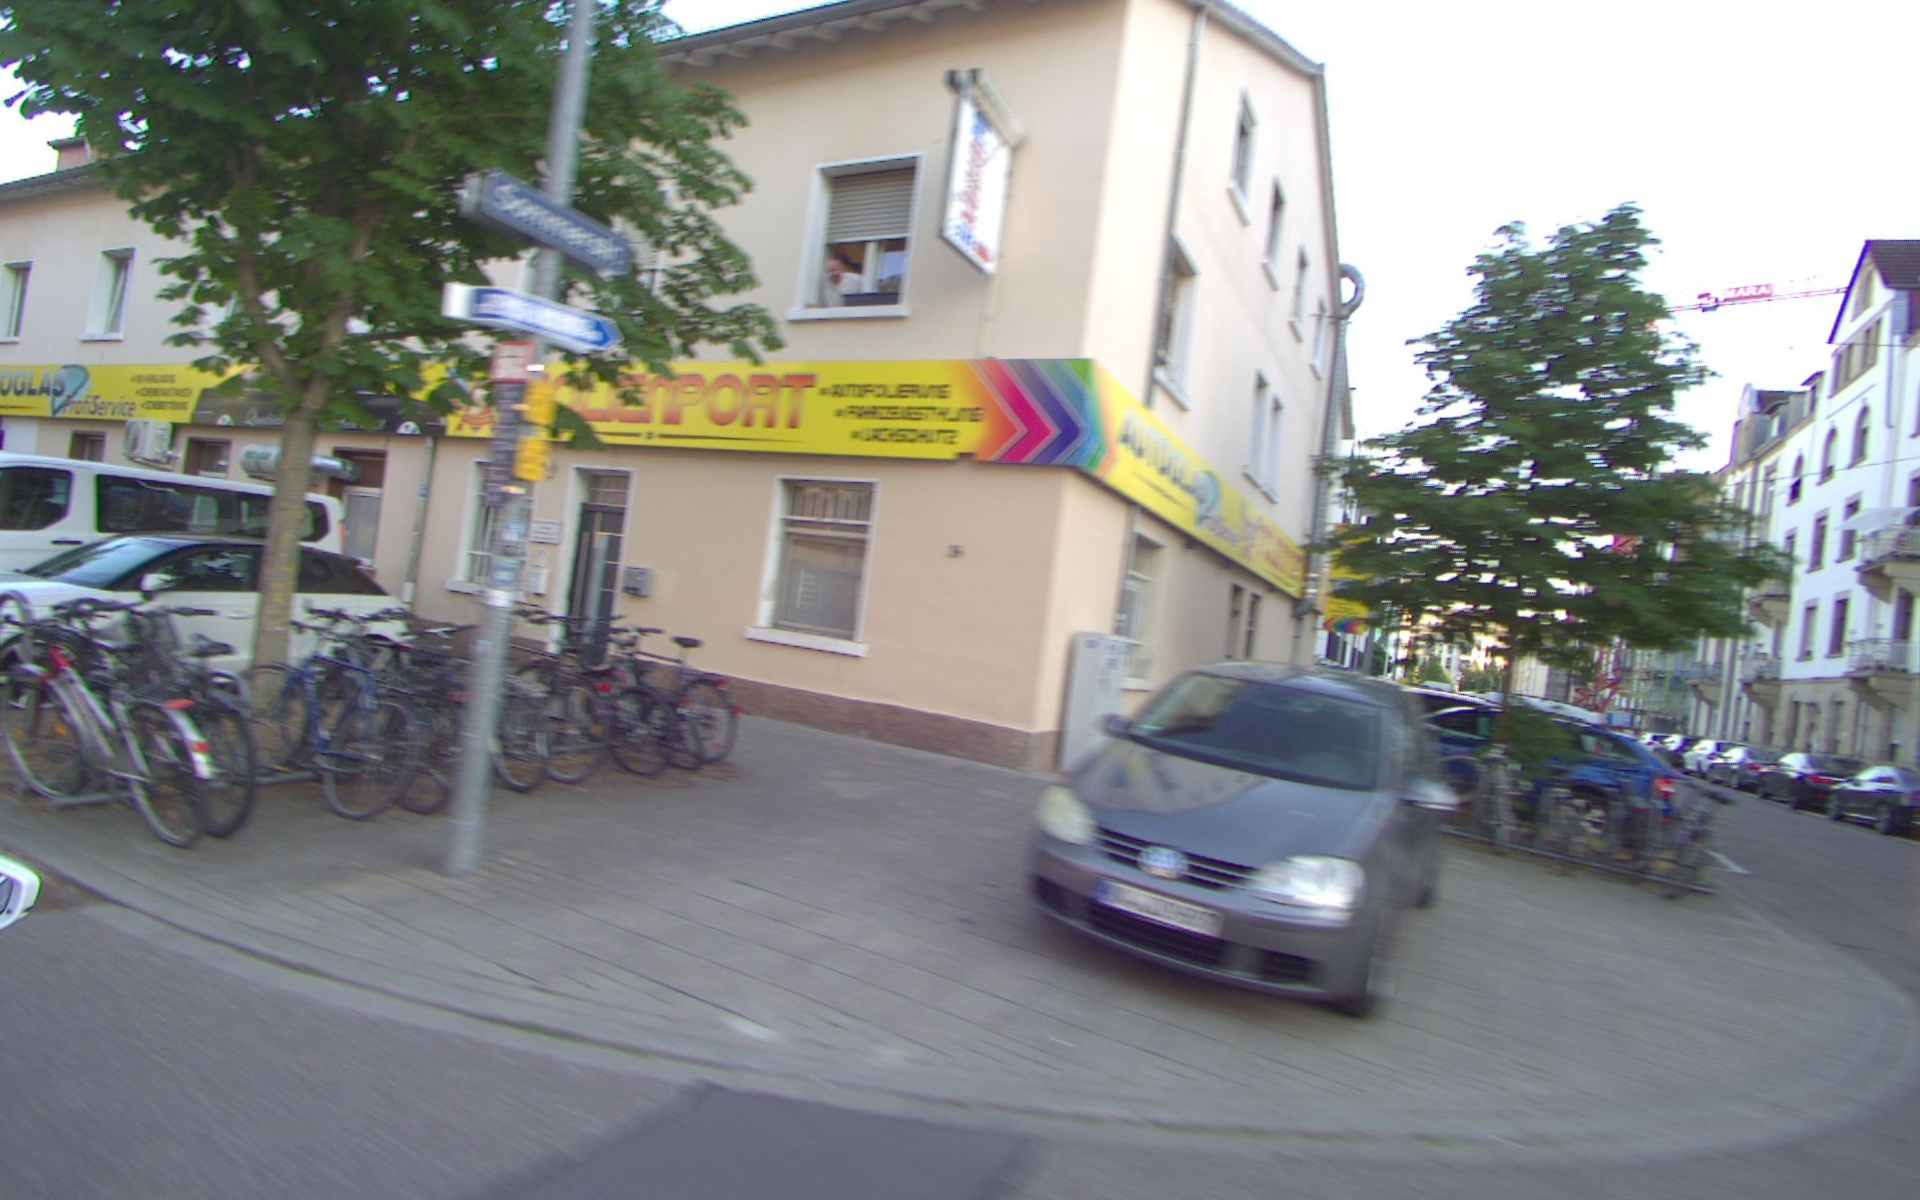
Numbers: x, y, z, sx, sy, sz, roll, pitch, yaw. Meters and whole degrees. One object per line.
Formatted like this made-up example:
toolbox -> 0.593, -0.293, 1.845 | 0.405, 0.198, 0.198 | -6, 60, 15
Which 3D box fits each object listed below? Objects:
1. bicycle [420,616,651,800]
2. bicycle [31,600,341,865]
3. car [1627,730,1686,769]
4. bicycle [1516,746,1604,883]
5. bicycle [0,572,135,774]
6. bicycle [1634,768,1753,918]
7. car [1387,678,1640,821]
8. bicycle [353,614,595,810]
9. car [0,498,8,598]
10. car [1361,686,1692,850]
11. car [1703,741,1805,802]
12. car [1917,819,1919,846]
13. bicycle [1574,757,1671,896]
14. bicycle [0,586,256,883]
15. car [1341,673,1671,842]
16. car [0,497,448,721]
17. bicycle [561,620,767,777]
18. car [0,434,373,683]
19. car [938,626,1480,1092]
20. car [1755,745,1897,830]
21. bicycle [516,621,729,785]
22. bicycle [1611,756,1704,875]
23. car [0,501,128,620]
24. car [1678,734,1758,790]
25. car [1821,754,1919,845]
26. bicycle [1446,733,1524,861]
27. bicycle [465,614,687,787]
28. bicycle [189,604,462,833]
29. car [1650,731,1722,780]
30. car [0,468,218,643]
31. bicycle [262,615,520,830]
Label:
bicycle -> -3.074, 0.741, 7.224 | 1.753, 1.036, 0.358 | 7, -1, 26
bicycle -> -4.070, 0.630, 5.240 | 1.937, 1.036, 0.358 | 7, -1, 26
car -> 32.914, 7.025, 47.610 | 1.567, 1.432, 3.682 | 7, -2, 25
bicycle -> 5.861, 2.052, 9.898 | 0.469, 1.074, 1.822 | 9, -1, 27
bicycle -> -5.845, 0.393, 6.220 | 1.753, 1.036, 0.358 | 7, -1, 26
bicycle -> 6.783, 2.197, 9.379 | 0.473, 1.074, 1.822 | 9, -1, 27
car -> 9.721, 2.563, 17.879 | 3.591, 1.821, 1.833 | 6, -2, 29
bicycle -> -3.309, 0.715, 6.800 | 1.753, 1.036, 0.358 | 7, -1, 26
car -> -16.136, -0.954, 14.006 | 1.651, 1.515, 3.793 | 7, 1, 25
car -> 7.598, 2.181, 13.779 | 3.591, 1.487, 1.833 | 6, -2, 29
car -> 25.649, 5.491, 32.625 | 1.638, 1.469, 3.699 | 7, -2, 25
car -> 18.557, 3.714, 17.254 | 1.811, 1.880, 3.879 | 7, -2, 25
bicycle -> 6.466, 2.162, 9.880 | 0.439, 1.074, 1.822 | 9, -1, 27
bicycle -> -4.254, 0.578, 4.895 | 1.937, 1.112, 0.358 | 7, -1, 26
car -> 8.384, 2.344, 15.758 | 4.148, 1.821, 1.833 | 6, -2, 29
car -> -6.934, 0.134, 8.779 | 1.691, 1.584, 4.046 | 6, -3, 27
bicycle -> -2.494, 0.793, 8.401 | 1.753, 1.036, 0.358 | 7, -1, 26
car -> -9.151, -0.420, 10.198 | 2.115, 2.125, 4.971 | 5, -3, 31
car -> 1.772, 1.103, 5.857 | 1.775, 1.509, 3.991 | 8, 0, 32
car -> 22.907, 4.901, 26.788 | 1.749, 1.643, 3.869 | 7, -2, 25
bicycle -> -2.713, 0.789, 8.018 | 1.753, 1.036, 0.358 | 7, -1, 26
bicycle -> 7.855, 2.391, 11.396 | 0.473, 1.074, 1.822 | 9, -1, 27
car -> -13.886, -0.677, 12.728 | 1.965, 1.515, 4.731 | 6, 0, 26
car -> 27.914, 5.922, 37.152 | 1.502, 1.603, 3.617 | 7, -2, 25
car -> 20.750, 4.394, 22.003 | 1.772, 1.579, 4.000 | 7, -2, 25
bicycle -> 5.422, 1.989, 10.445 | 0.519, 1.074, 1.822 | 9, -1, 27
bicycle -> -2.939, 0.732, 7.636 | 1.753, 1.036, 0.358 | 7, -1, 26
bicycle -> -3.747, 0.648, 5.890 | 1.795, 1.036, 0.358 | 7, -1, 26
car -> 30.340, 6.463, 42.145 | 1.571, 1.590, 3.938 | 7, -2, 25
car -> -11.463, -0.604, 11.477 | 1.966, 1.881, 4.297 | 7, 0, 30
bicycle -> -3.564, 0.718, 6.251 | 1.753, 1.036, 0.358 | 7, -1, 26
